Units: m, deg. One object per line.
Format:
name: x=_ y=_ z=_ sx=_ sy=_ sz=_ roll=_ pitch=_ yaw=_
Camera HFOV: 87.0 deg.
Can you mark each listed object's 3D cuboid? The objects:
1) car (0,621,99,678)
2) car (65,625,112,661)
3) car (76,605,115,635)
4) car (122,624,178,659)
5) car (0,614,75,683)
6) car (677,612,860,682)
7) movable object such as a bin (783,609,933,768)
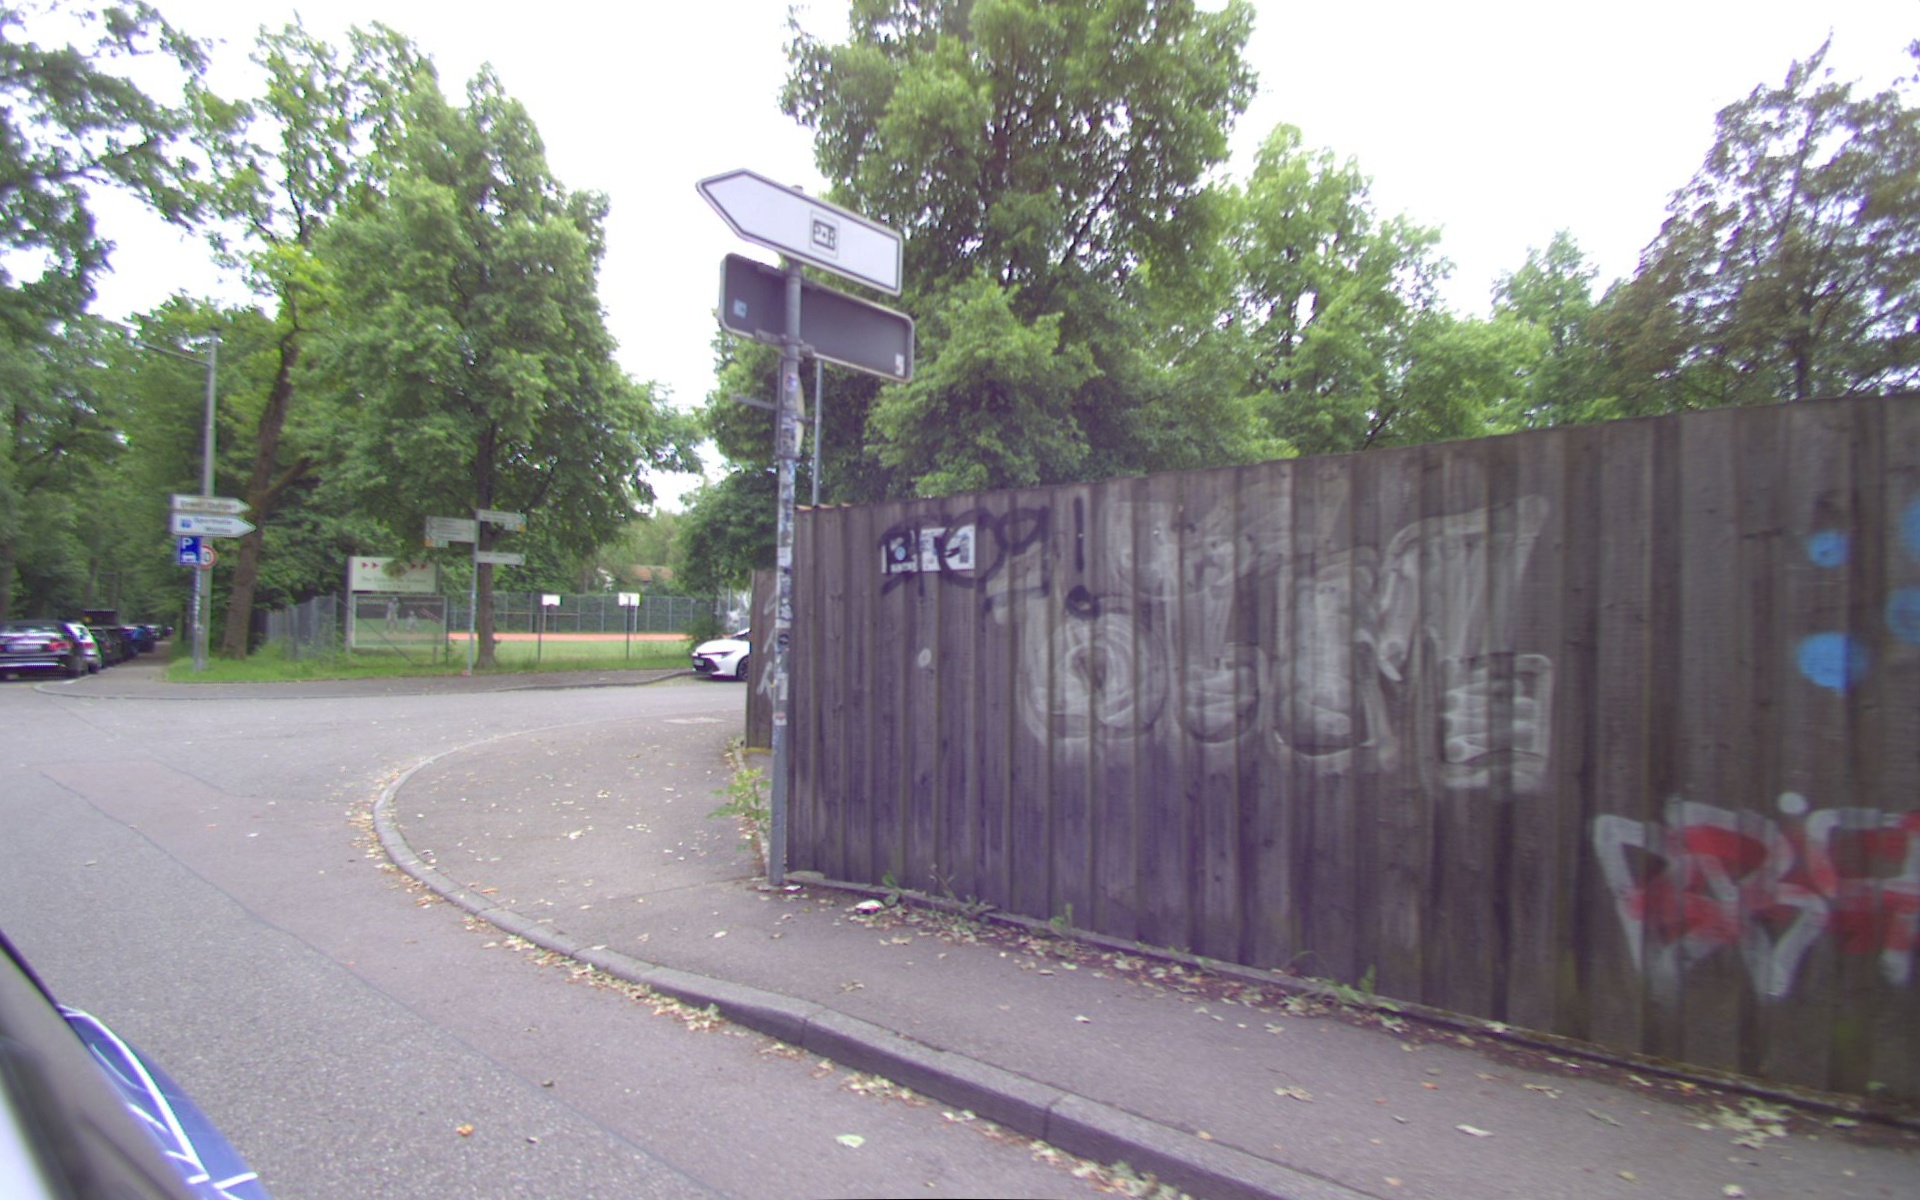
car: x=-25.099 y=1.360 z=27.870 sx=1.968 sy=1.431 sz=4.007 roll=1 pitch=-3 yaw=-39
car: x=-40.878 y=1.982 z=47.452 sx=1.596 sy=1.604 sz=3.524 roll=1 pitch=-2 yaw=-42
car: x=-75.737 y=1.742 z=88.690 sx=2.541 sy=2.554 sz=4.943 roll=1 pitch=-2 yaw=-40
car: x=-40.261 y=2.062 z=50.267 sx=1.928 sy=1.631 sz=3.644 roll=4 pitch=-3 yaw=-42
car: x=-22.179 y=1.159 z=23.868 sx=1.744 sy=1.506 sz=4.334 roll=1 pitch=-3 yaw=-38
car: x=-4.775 y=1.169 z=25.553 sx=4.148 sy=1.608 sz=1.774 roll=2 pitch=-1 yaw=-39
movable object such as a bin: x=-0.978 y=0.850 z=10.080 sx=1.270 sy=1.453 sz=1.077 roll=1 pitch=-2 yaw=6
